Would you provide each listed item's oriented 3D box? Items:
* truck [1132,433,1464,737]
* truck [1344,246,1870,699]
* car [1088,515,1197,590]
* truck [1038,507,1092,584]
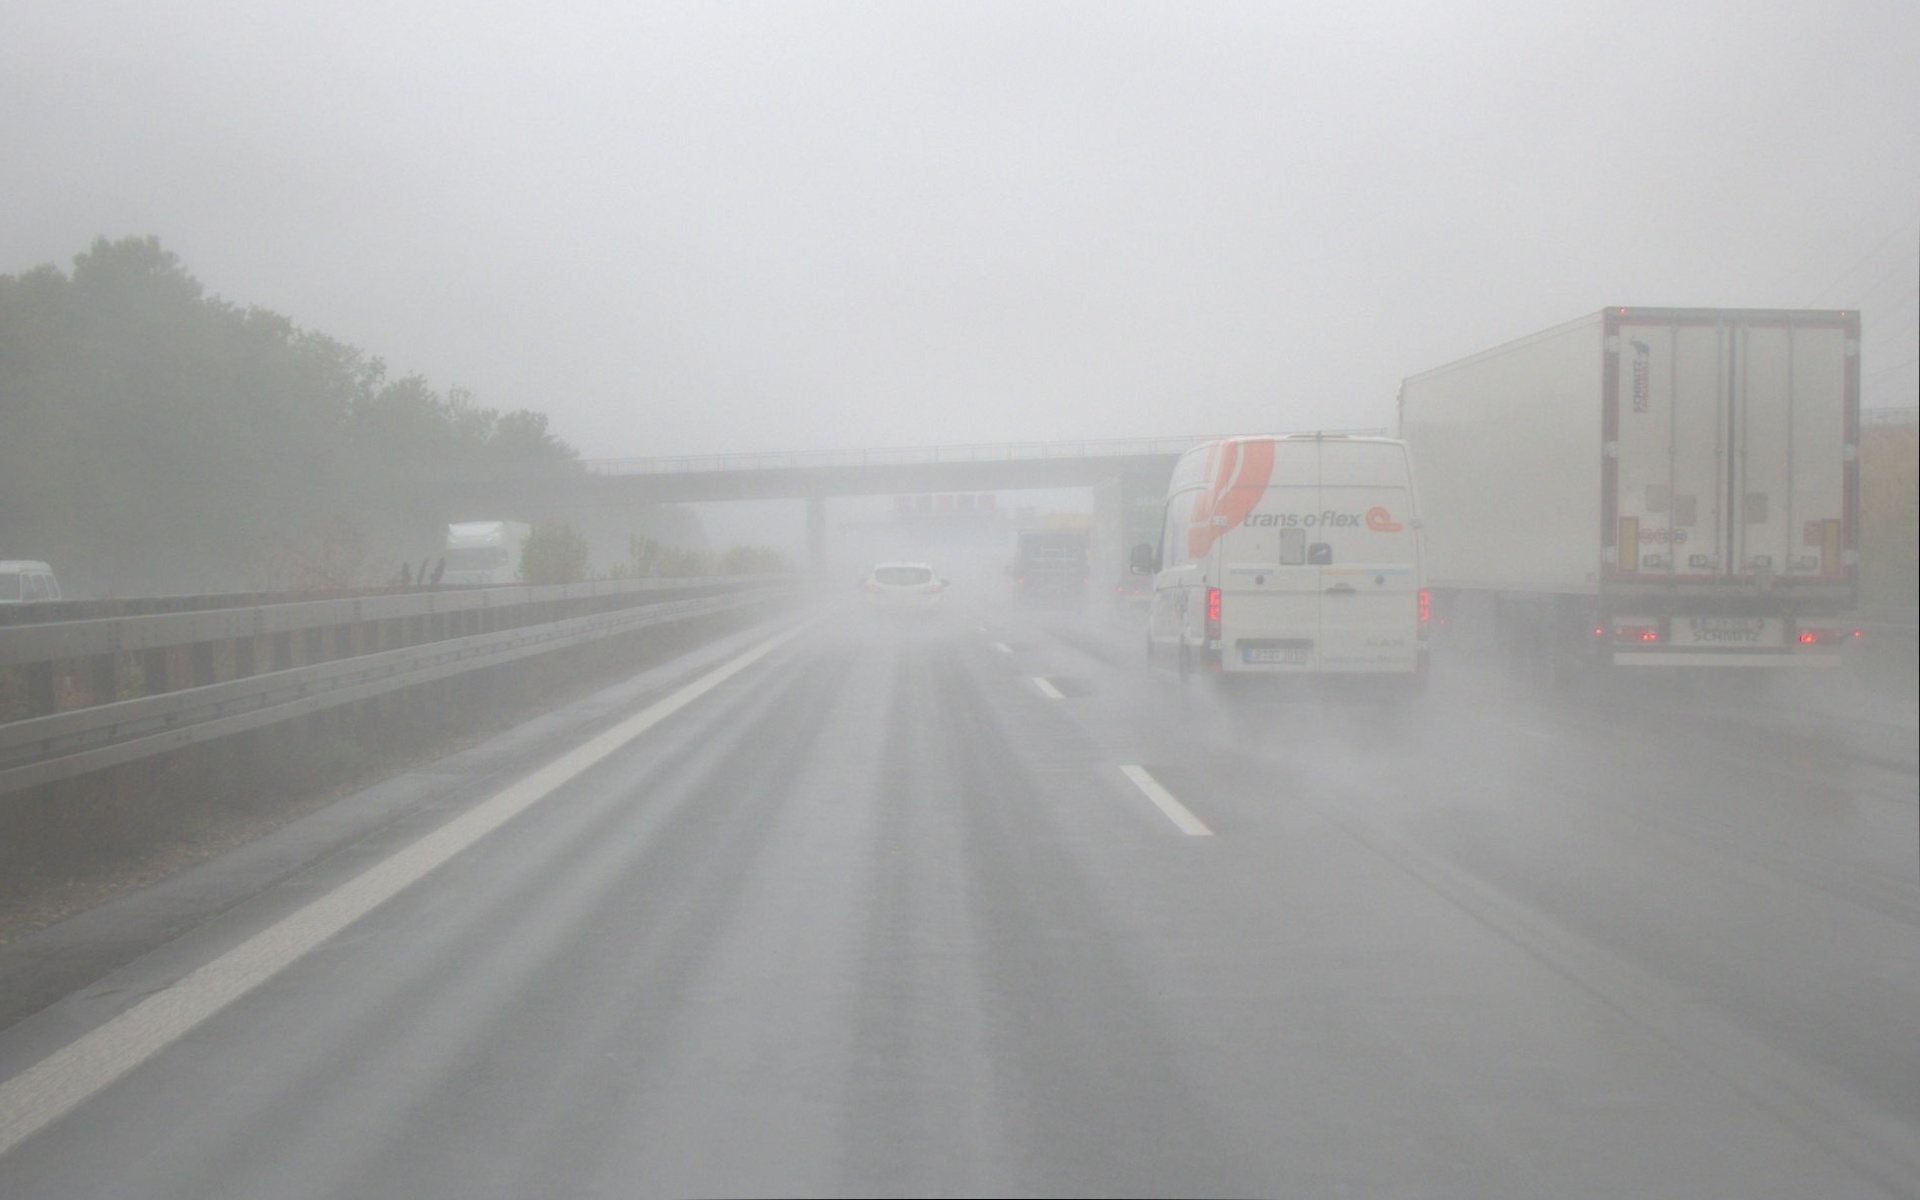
[{"bbox_3d":[2.939,-0.215,31.249,2.419,2.484,5.560,1,2,0],"label":"truck"},{"bbox_3d":[7.522,-1.441,43.306,3.039,4.572,16.352,1,1,-2],"label":"truck"},{"bbox_3d":[5.227,-1.402,99.321,2.788,2.006,4.993,1,2,-1],"label":"car"},{"bbox_3d":[4.886,-2.572,160.934,2.109,3.504,5.248,1,2,-2],"label":"truck"}]
